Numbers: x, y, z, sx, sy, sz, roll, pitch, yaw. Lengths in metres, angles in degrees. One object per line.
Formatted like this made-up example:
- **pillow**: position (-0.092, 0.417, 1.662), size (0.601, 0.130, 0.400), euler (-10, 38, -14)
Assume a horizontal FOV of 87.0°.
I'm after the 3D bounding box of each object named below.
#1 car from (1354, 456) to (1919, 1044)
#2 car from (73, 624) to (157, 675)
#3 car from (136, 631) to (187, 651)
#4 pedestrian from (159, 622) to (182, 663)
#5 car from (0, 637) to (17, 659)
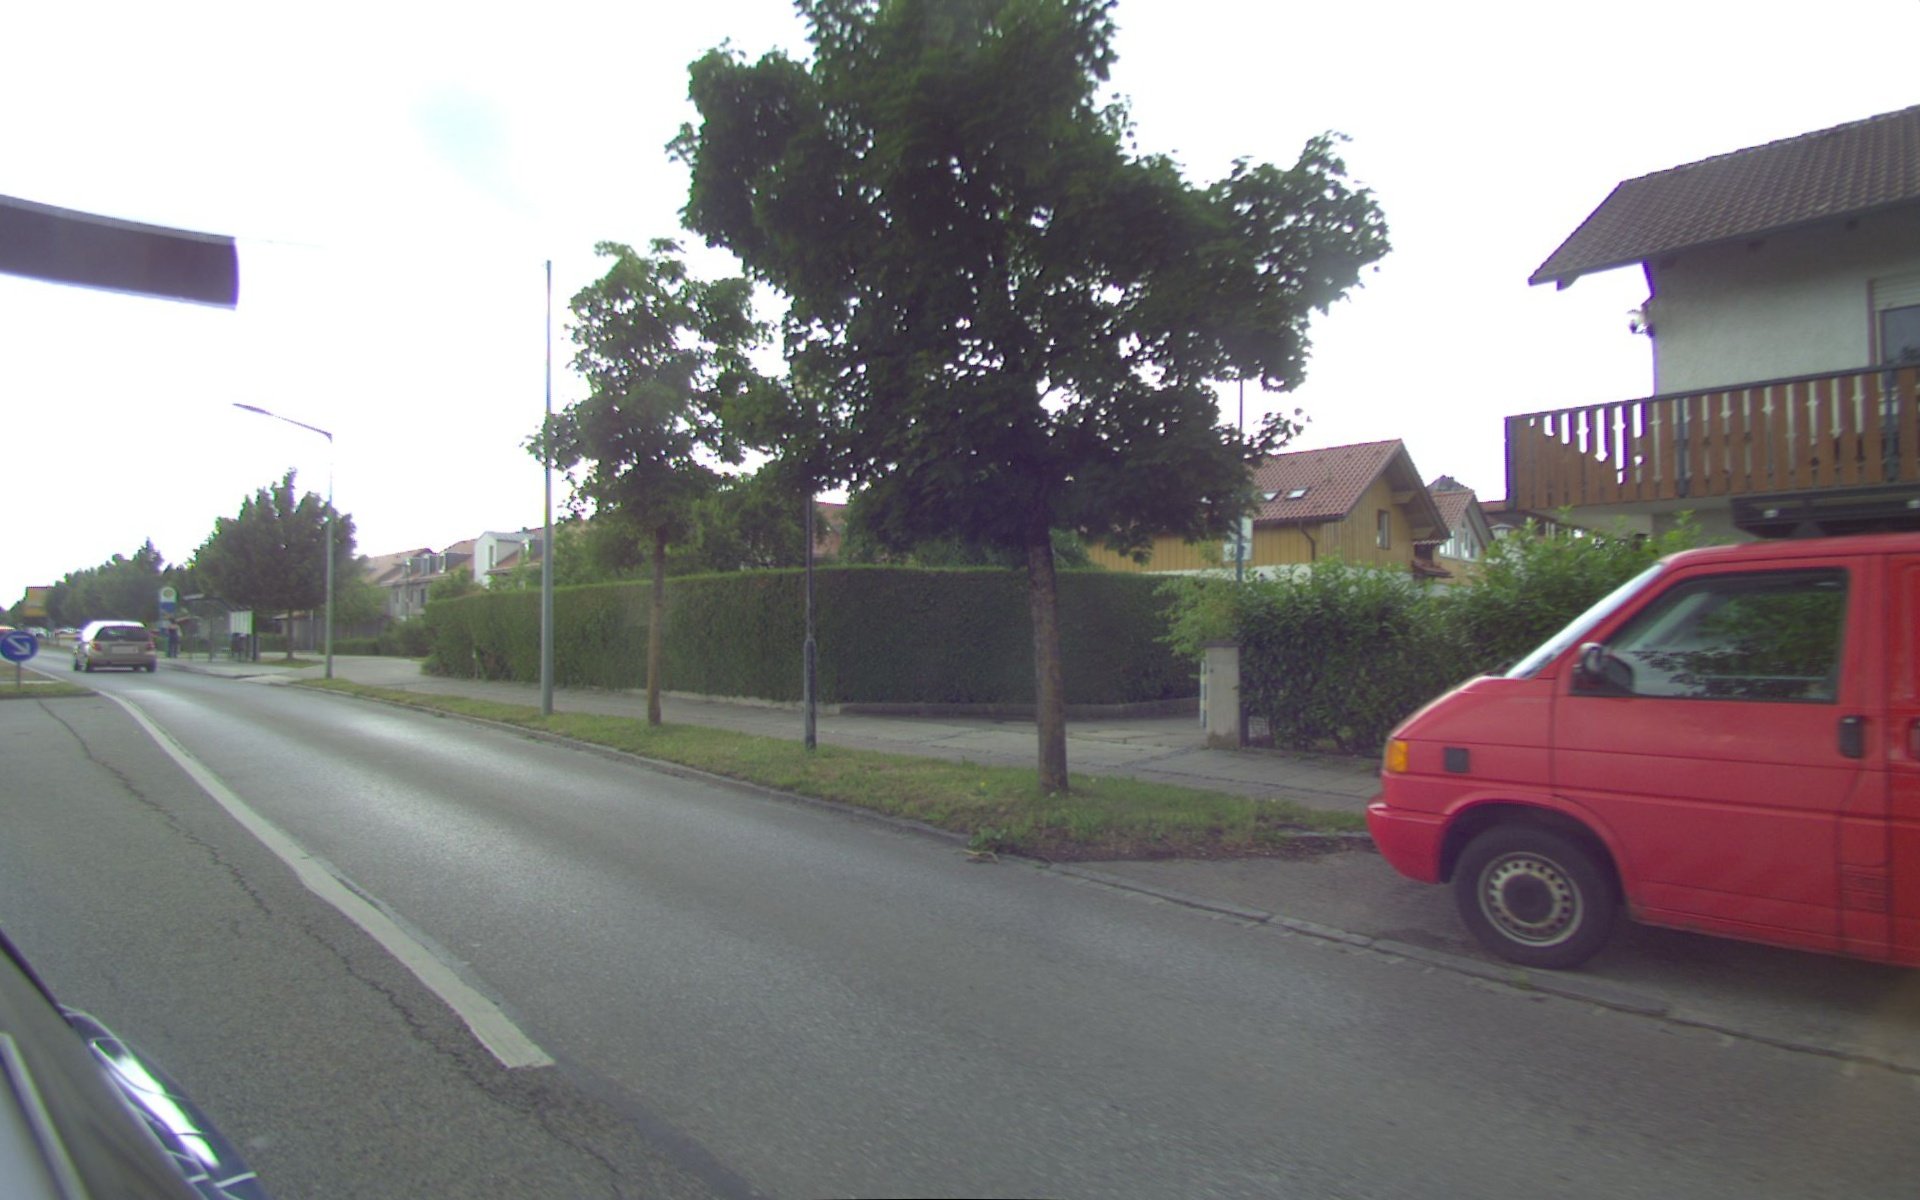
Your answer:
- **car**: position (4.363, 0.523, 3.814), size (5.046, 2.046, 1.810), euler (-2, -3, 43)
- **car**: position (-27.108, 1.576, 32.440), size (3.509, 1.544, 1.687), euler (-2, -4, 45)
- **car**: position (-92.590, 4.740, 117.399), size (4.504, 2.029, 2.002), euler (-1, 0, -43)
- **pedestrian**: position (-32.192, 1.714, 41.240), size (0.812, 1.649, 0.582), euler (-2, -3, 42)
- **car**: position (-67.504, 3.354, 70.835), size (4.496, 1.465, 1.899), euler (-2, -3, 43)
